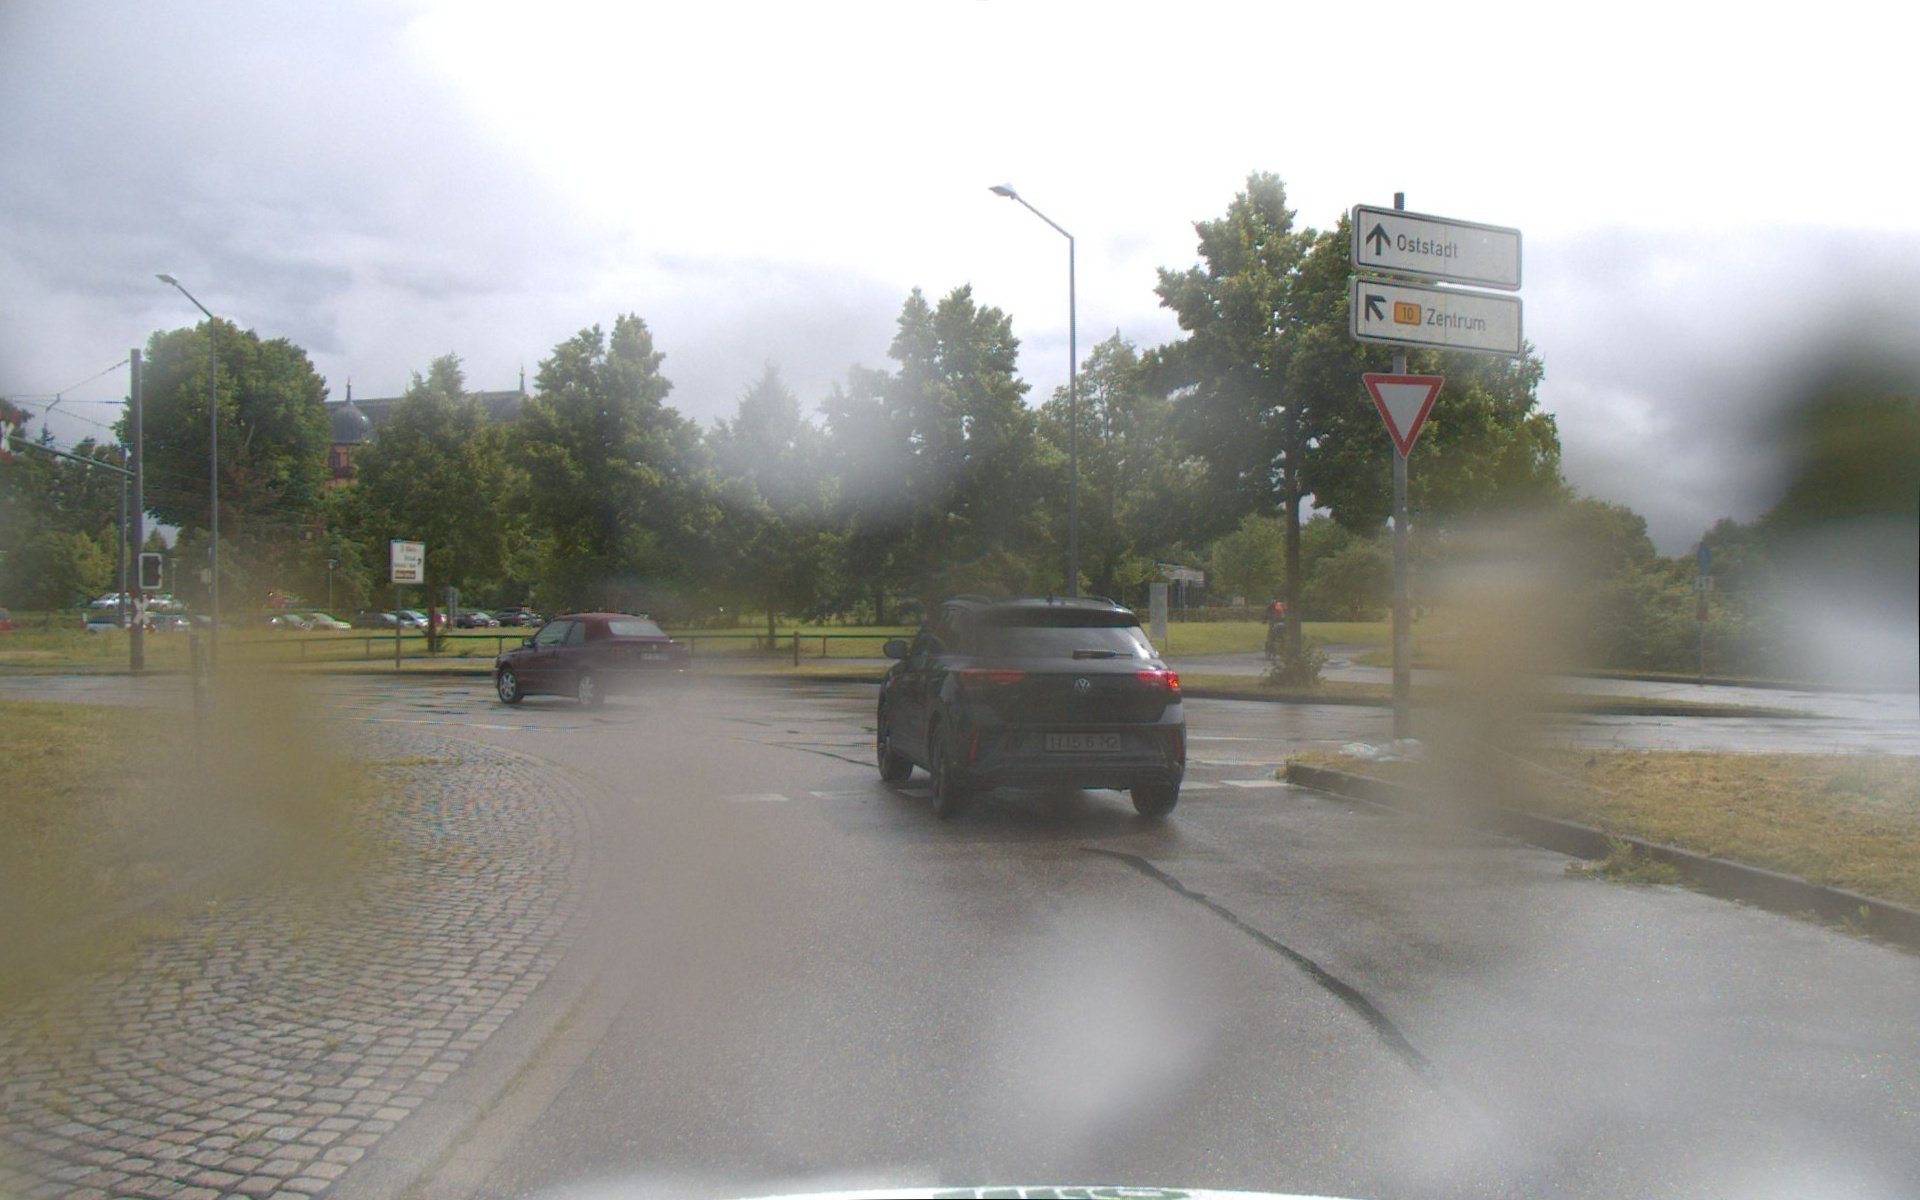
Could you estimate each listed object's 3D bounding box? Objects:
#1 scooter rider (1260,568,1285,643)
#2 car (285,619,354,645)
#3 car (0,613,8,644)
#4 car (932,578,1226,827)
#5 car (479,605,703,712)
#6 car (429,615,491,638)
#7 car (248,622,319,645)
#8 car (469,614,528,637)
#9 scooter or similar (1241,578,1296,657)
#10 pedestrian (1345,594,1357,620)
[{"bbox_3d":[8.668,0.150,45.898,0.689,2.049,0.771,0,-2,10],"label":"scooter rider"},{"bbox_3d":[-40.913,2.042,105.656,3.883,1.587,1.851,-1,-1,20],"label":"car"},{"bbox_3d":[-49.244,1.425,82.169,3.566,1.537,1.649,-1,0,25],"label":"car"},{"bbox_3d":[0.764,0.683,12.981,1.859,1.646,3.998,0,0,-3],"label":"car"},{"bbox_3d":[-5.915,0.862,26.241,1.707,1.488,3.936,-1,1,-44],"label":"car"},{"bbox_3d":[-36.037,1.920,119.193,3.883,1.587,1.851,-1,-1,20],"label":"car"},{"bbox_3d":[-42.206,2.108,103.172,3.883,1.331,1.851,-1,0,20],"label":"car"},{"bbox_3d":[-34.347,1.886,123.113,3.883,1.587,1.851,-1,-1,20],"label":"car"},{"bbox_3d":[8.409,0.519,44.955,1.209,2.049,3.411,0,-2,15],"label":"scooter or similar"},{"bbox_3d":[26.036,0.474,110.124,0.586,1.762,0.604,-1,-2,32],"label":"pedestrian"}]
